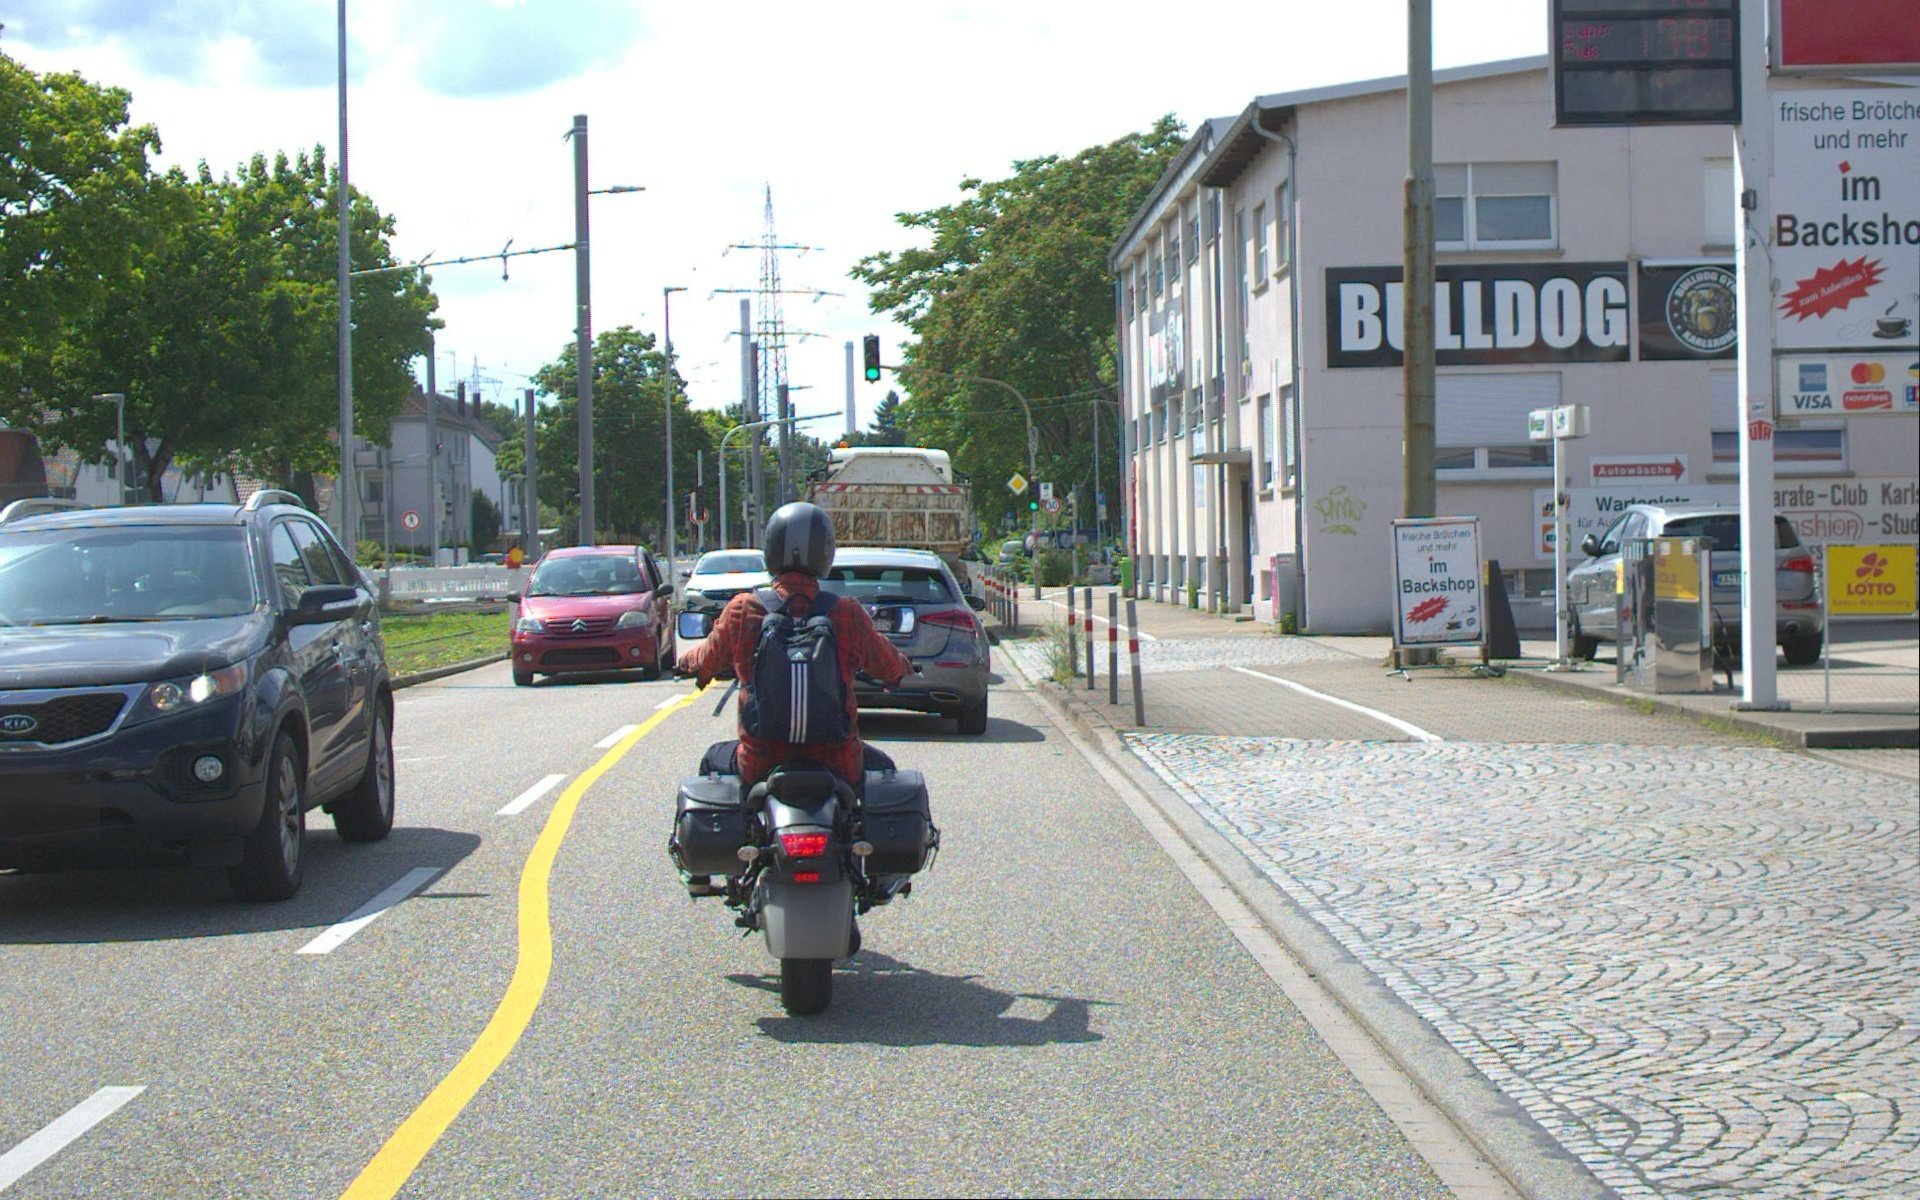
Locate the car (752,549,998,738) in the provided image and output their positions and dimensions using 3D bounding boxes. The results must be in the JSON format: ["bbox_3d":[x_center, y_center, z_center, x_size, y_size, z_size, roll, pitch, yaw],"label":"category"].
[{"bbox_3d":[-0.771,0.303,28.215,1.731,1.399,4.087,1,1,-5],"label":"car"}]

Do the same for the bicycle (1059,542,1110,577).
[{"bbox_3d":[4.226,-1.363,116.428,1.708,1.168,0.438,1,0,5],"label":"bicycle"}]

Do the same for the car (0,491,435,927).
[{"bbox_3d":[-3.684,0.389,15.540,1.796,1.684,4.221,-1,1,2],"label":"car"}]

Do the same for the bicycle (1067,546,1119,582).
[{"bbox_3d":[4.453,-1.200,114.887,1.708,1.168,0.438,1,0,5],"label":"bicycle"}]

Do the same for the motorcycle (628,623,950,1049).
[{"bbox_3d":[-0.524,0.716,11.522,0.942,1.196,2.472,1,1,-1],"label":"motorcycle"}]

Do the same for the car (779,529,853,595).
[{"bbox_3d":[-3.829,-1.001,92.106,1.824,1.660,4.462,-2,0,-1],"label":"car"}]

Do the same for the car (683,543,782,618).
[{"bbox_3d":[-4.623,-0.400,70.297,1.821,1.440,4.484,-2,0,-2],"label":"car"}]

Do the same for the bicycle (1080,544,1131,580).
[{"bbox_3d":[4.897,-1.282,115.741,1.708,1.168,0.438,1,0,5],"label":"bicycle"}]

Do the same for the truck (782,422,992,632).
[{"bbox_3d":[-1.074,-1.144,56.372,2.967,3.162,7.763,1,0,2],"label":"truck"}]

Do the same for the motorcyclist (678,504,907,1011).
[{"bbox_3d":[-0.534,0.496,11.231,0.698,1.599,0.692,1,0,-1],"label":"motorcyclist"}]

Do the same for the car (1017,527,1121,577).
[{"bbox_3d":[4.305,-1.876,135.201,1.802,1.919,3.989,1,0,45],"label":"car"}]

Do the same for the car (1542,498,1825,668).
[{"bbox_3d":[7.299,-0.201,35.118,1.945,1.619,4.616,0,1,0],"label":"car"}]

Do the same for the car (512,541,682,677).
[{"bbox_3d":[-4.114,0.083,39.398,1.578,1.464,3.720,1,0,-1],"label":"car"}]
